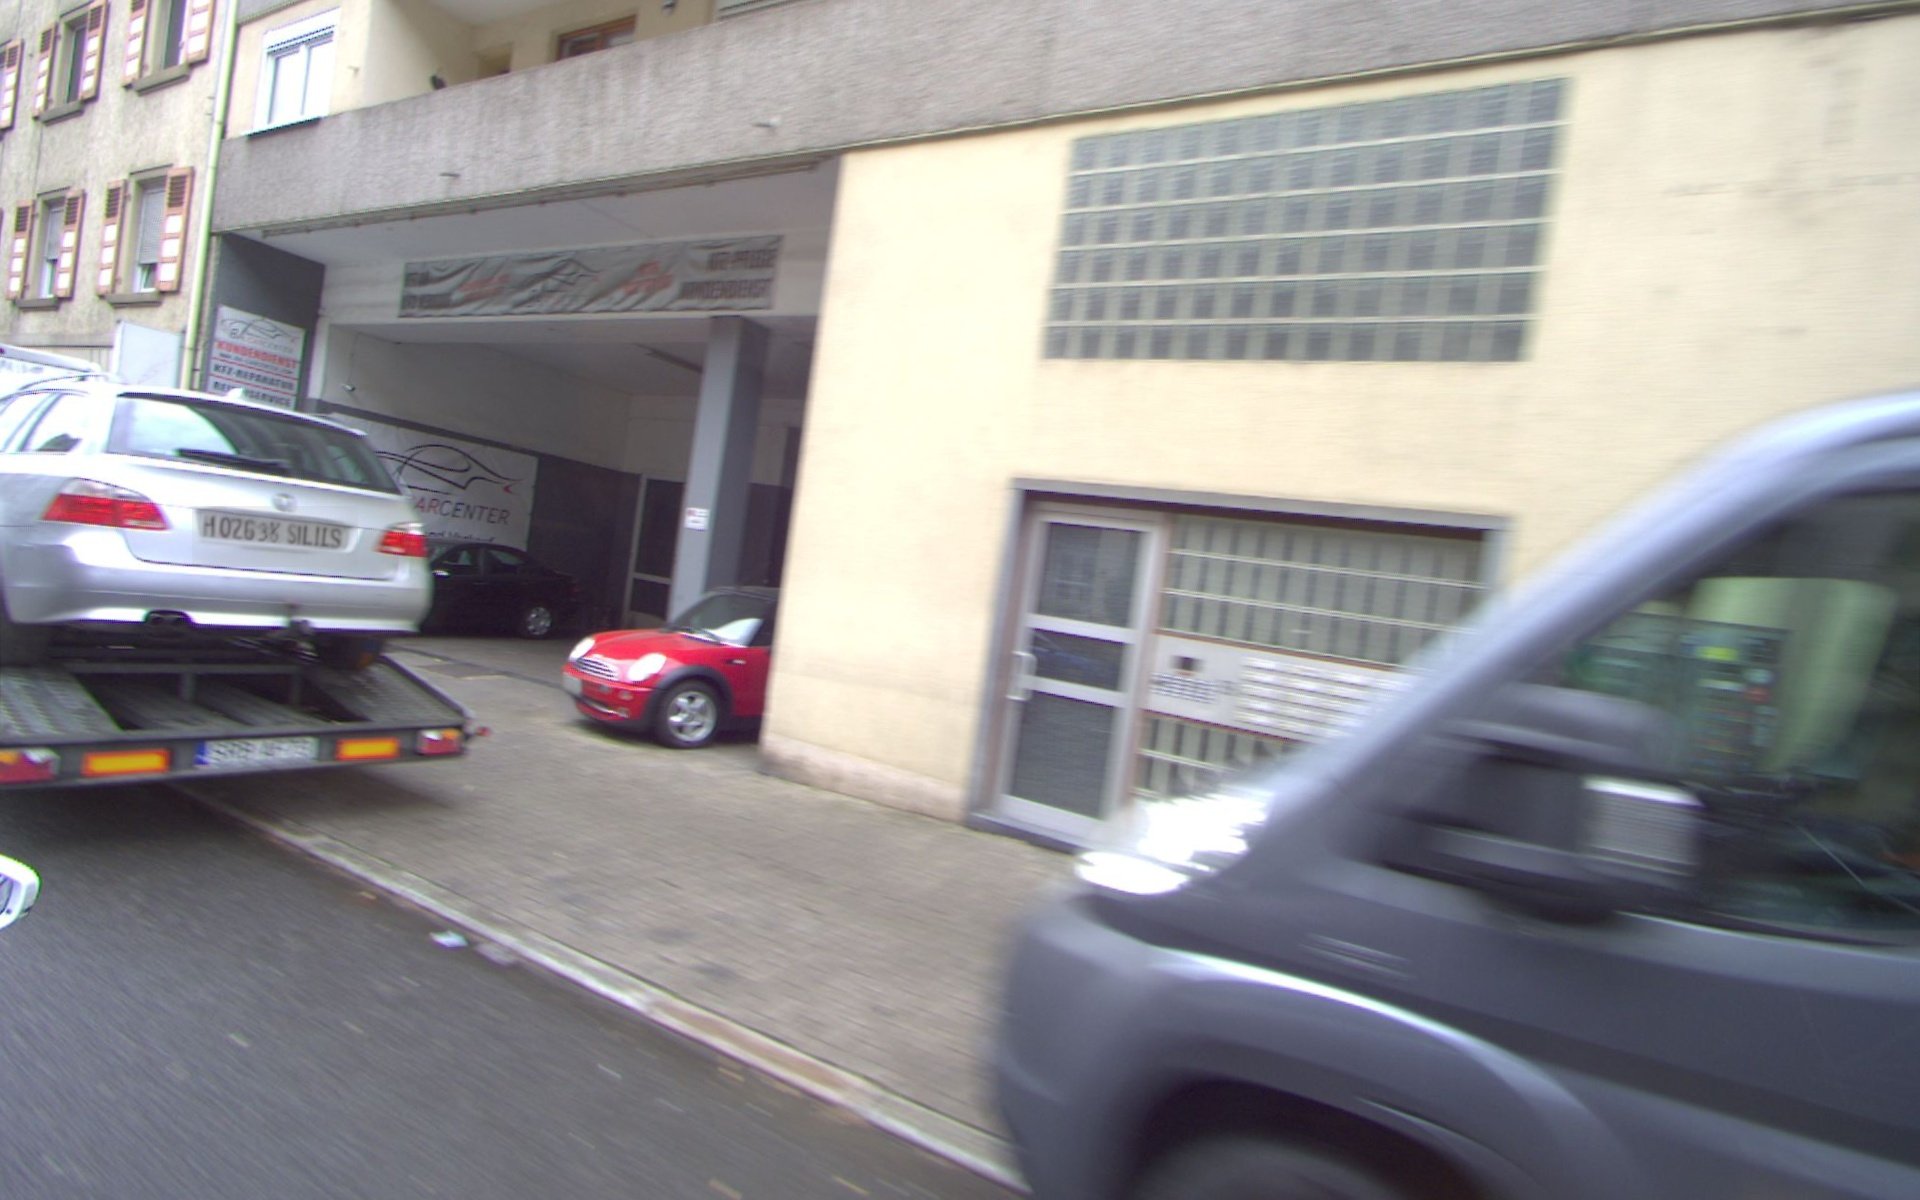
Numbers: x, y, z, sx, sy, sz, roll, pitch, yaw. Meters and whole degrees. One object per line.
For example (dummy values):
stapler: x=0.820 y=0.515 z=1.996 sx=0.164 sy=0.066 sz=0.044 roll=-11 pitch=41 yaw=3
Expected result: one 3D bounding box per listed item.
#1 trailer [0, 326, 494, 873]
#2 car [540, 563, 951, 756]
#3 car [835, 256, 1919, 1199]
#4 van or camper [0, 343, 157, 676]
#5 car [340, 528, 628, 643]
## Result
trailer: x=-5.292 y=-0.209 z=6.196 sx=4.991 sy=2.180 sz=1.993 roll=8 pitch=2 yaw=34
car: x=-1.881 y=0.562 z=9.994 sx=1.532 sy=1.409 sz=3.988 roll=7 pitch=1 yaw=33
car: x=2.661 y=0.786 z=1.770 sx=5.418 sy=2.175 sz=2.156 roll=6 pitch=0 yaw=31
van or camper: x=-10.550 y=-1.058 z=10.214 sx=6.323 sy=2.733 sz=2.183 roll=7 pitch=0 yaw=38
car: x=-7.380 y=-0.160 z=15.960 sx=1.865 sy=1.409 sz=3.658 roll=9 pitch=2 yaw=27
